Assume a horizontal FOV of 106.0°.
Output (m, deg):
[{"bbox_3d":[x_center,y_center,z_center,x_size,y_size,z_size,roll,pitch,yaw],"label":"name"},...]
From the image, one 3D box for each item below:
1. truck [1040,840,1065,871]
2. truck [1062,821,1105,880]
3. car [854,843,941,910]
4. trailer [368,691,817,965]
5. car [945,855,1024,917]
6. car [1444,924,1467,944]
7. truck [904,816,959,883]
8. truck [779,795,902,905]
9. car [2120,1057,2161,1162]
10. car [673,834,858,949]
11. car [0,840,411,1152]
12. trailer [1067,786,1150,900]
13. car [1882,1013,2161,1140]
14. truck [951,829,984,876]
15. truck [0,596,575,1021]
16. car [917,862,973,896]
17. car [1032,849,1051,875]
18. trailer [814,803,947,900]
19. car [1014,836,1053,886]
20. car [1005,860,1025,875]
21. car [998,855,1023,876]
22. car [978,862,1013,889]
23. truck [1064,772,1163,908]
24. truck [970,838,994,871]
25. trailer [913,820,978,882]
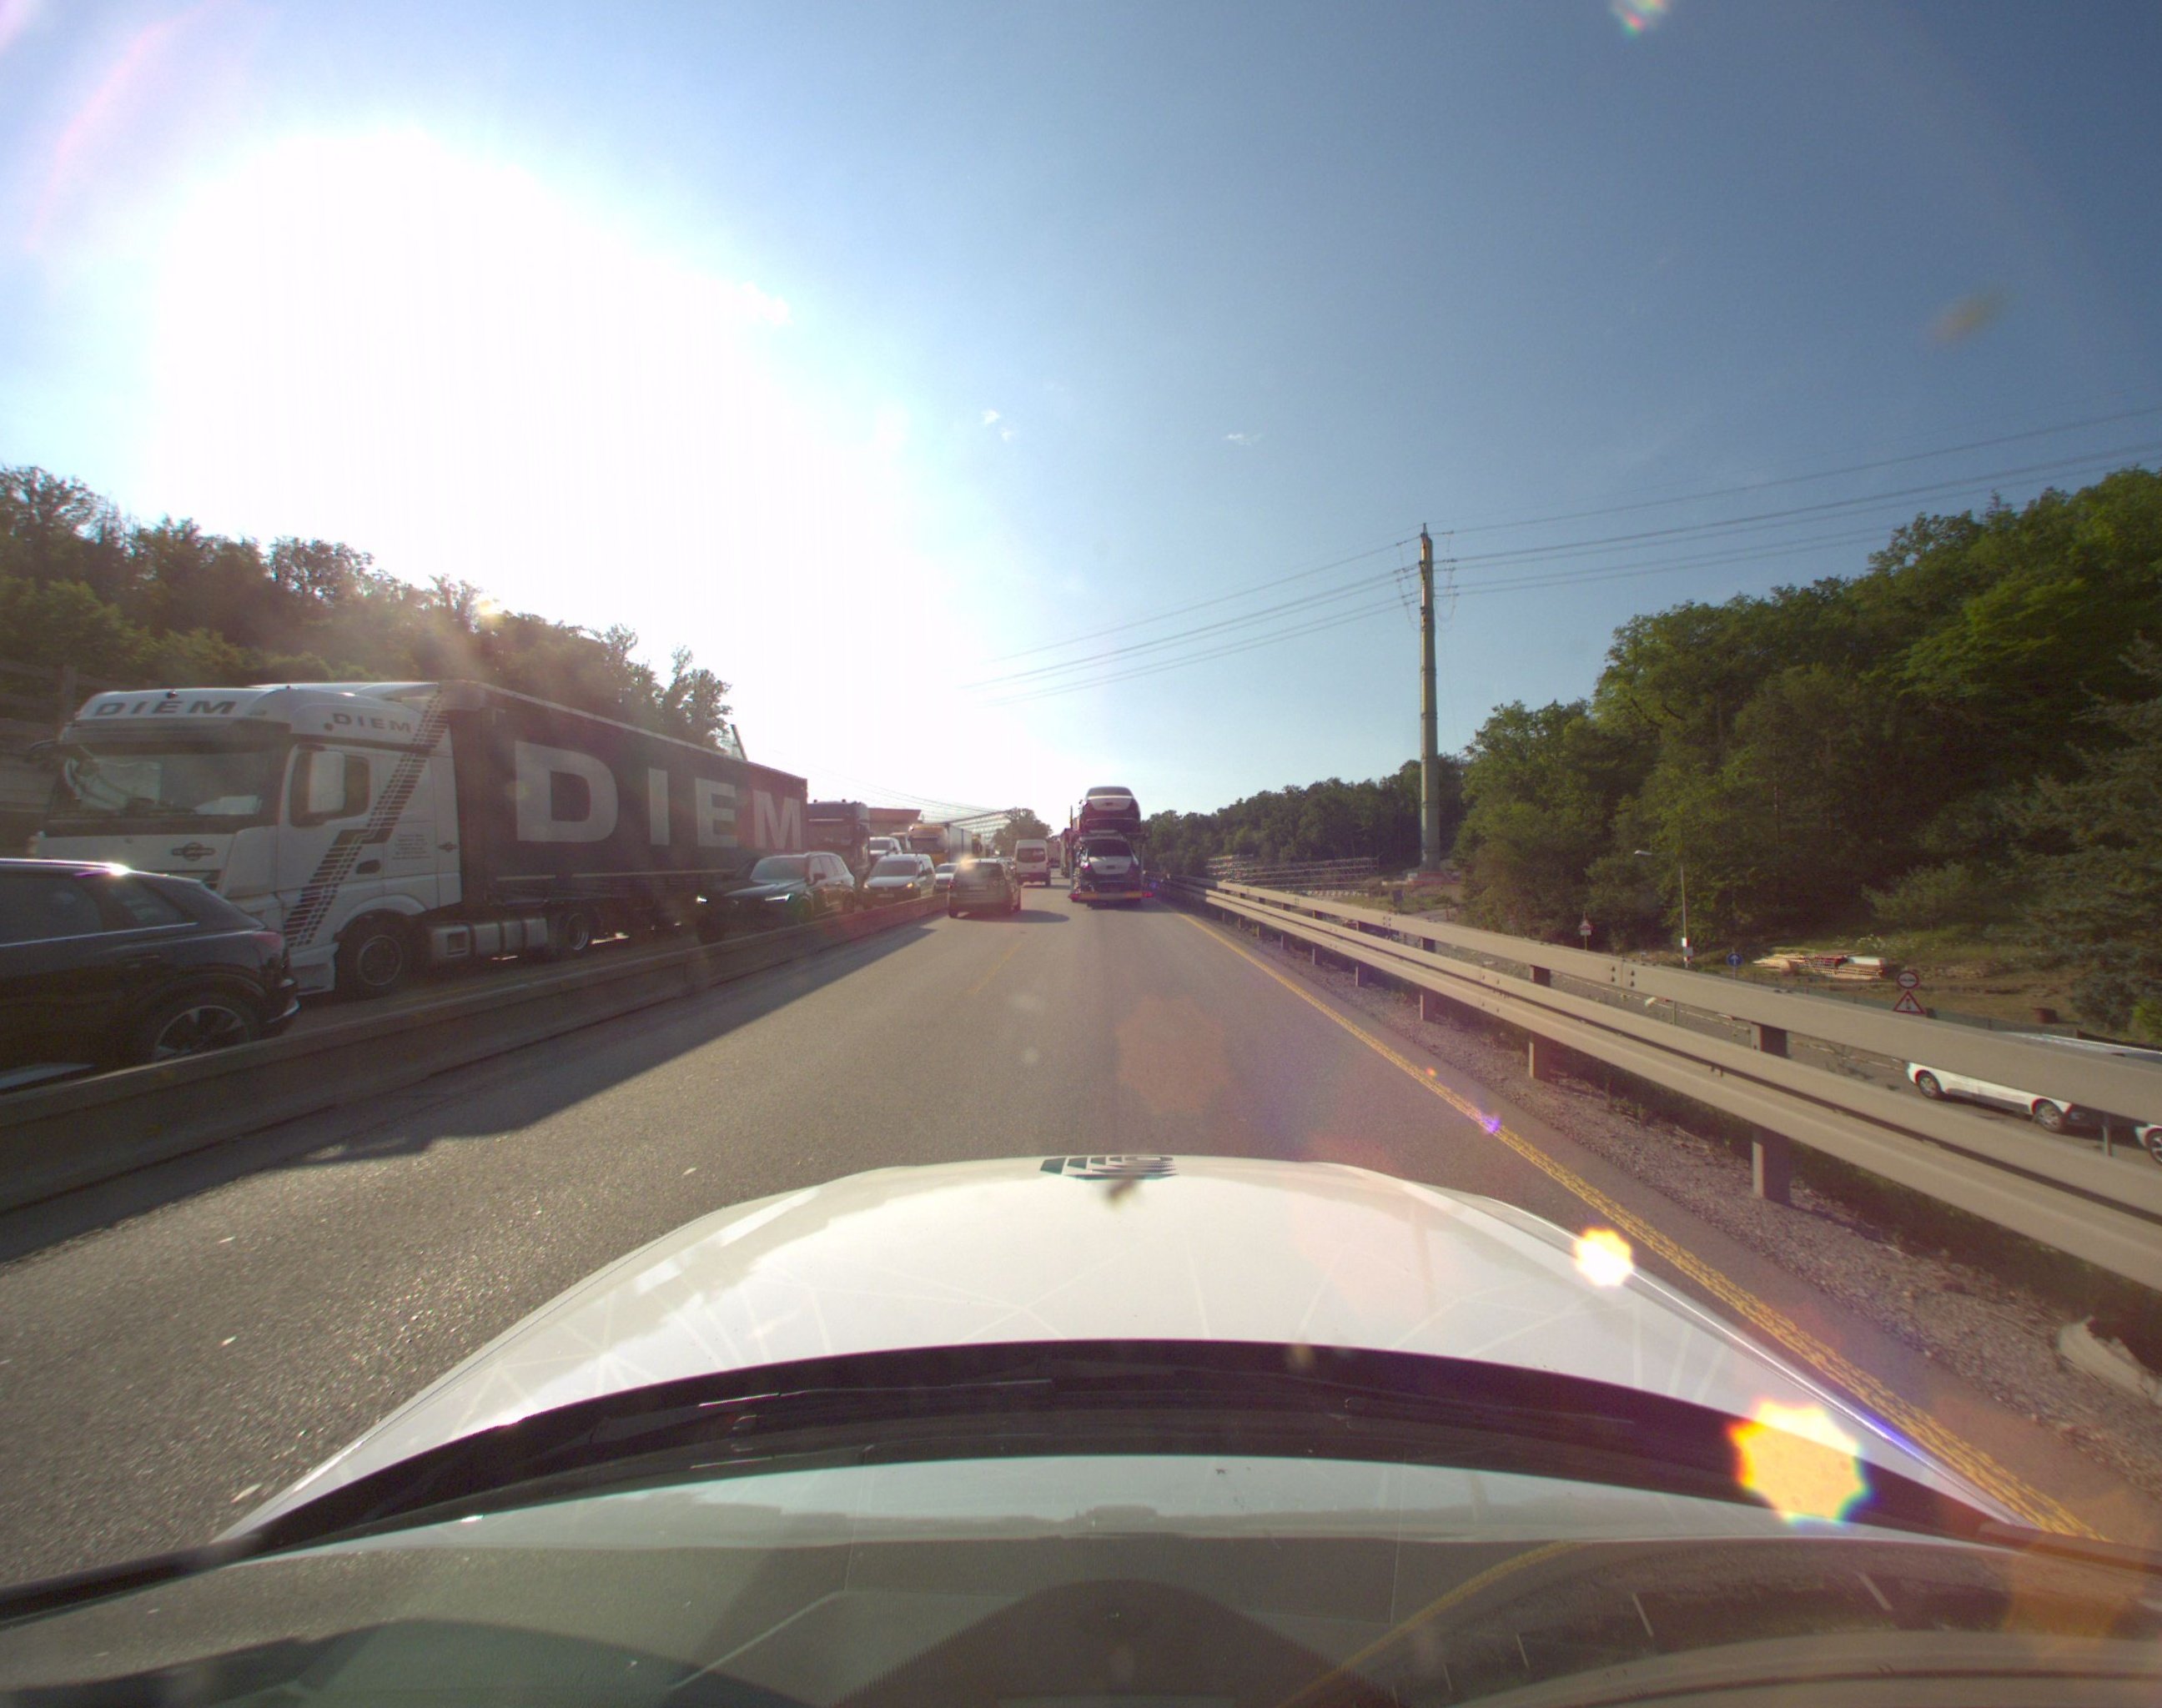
[{"bbox_3d":[-4.702,0.149,130.069,3.641,4.677,11.680,-1,0,-3],"label":"truck"},{"bbox_3d":[0.044,-0.287,70.201,3.220,4.677,11.686,-1,0,-2],"label":"truck"},{"bbox_3d":[-6.064,0.747,27.537,1.819,1.933,5.126,-4,-1,-2],"label":"car"},{"bbox_3d":[-9.553,-0.325,18.788,2.706,4.123,12.489,-2,-1,0],"label":"trailer"},{"bbox_3d":[-2.681,0.893,23.509,1.695,1.587,4.147,-1,-1,1],"label":"car"},{"bbox_3d":[34.087,7.251,74.204,1.513,1.461,4.288,-2,-1,19],"label":"car"},{"bbox_3d":[-9.804,-0.217,54.033,2.694,4.141,5.788,-1,-1,-2],"label":"truck"},{"bbox_3d":[-9.301,-0.108,32.405,2.741,3.805,7.108,-2,-1,-1],"label":"truck"},{"bbox_3d":[21.876,4.986,14.106,1.983,1.917,4.877,-2,-3,11],"label":"car"},{"bbox_3d":[-6.167,0.721,16.625,1.827,1.964,4.898,-1,-2,0],"label":"car"},{"bbox_3d":[-6.518,0.771,4.027,1.870,1.605,5.368,-3,-1,1],"label":"car"},{"bbox_3d":[1.008,-0.237,36.612,2.865,3.994,15.275,-1,-1,0],"label":"trailer"},{"bbox_3d":[22.946,5.275,20.073,1.851,1.986,5.063,-2,-3,9],"label":"car"},{"bbox_3d":[-10.718,-0.088,77.172,2.688,4.197,4.392,-1,-1,-4],"label":"truck"},{"bbox_3d":[-9.540,-0.428,10.554,2.741,4.115,5.028,-2,-1,-1],"label":"truck"},{"bbox_3d":[-6.577,1.196,39.859,1.797,1.522,4.816,-2,-1,1],"label":"car"},{"bbox_3d":[-3.248,0.676,66.898,1.525,2.014,3.995,1,-2,-3],"label":"car"},{"bbox_3d":[-9.388,0.004,40.822,2.741,3.816,16.040,-2,-1,-1],"label":"trailer"},{"bbox_3d":[-2.706,0.439,46.841,1.973,2.684,4.145,-1,-1,-1],"label":"car"},{"bbox_3d":[-6.663,1.369,82.944,1.784,1.498,4.720,-1,-1,-2],"label":"car"},{"bbox_3d":[-6.211,1.049,72.453,1.922,1.702,4.687,-1,-1,-2],"label":"car"},{"bbox_3d":[-5.722,1.438,54.911,1.954,1.645,4.844,-1,-1,-2],"label":"car"},{"bbox_3d":[0.982,-0.359,27.136,2.861,3.980,5.770,-1,-1,0],"label":"truck"},{"bbox_3d":[-13.277,0.194,109.657,2.805,3.970,13.864,-1,-1,-5],"label":"truck"},{"bbox_3d":[-10.136,0.004,62.917,2.708,4.135,16.736,-1,-1,-2],"label":"trailer"}]
